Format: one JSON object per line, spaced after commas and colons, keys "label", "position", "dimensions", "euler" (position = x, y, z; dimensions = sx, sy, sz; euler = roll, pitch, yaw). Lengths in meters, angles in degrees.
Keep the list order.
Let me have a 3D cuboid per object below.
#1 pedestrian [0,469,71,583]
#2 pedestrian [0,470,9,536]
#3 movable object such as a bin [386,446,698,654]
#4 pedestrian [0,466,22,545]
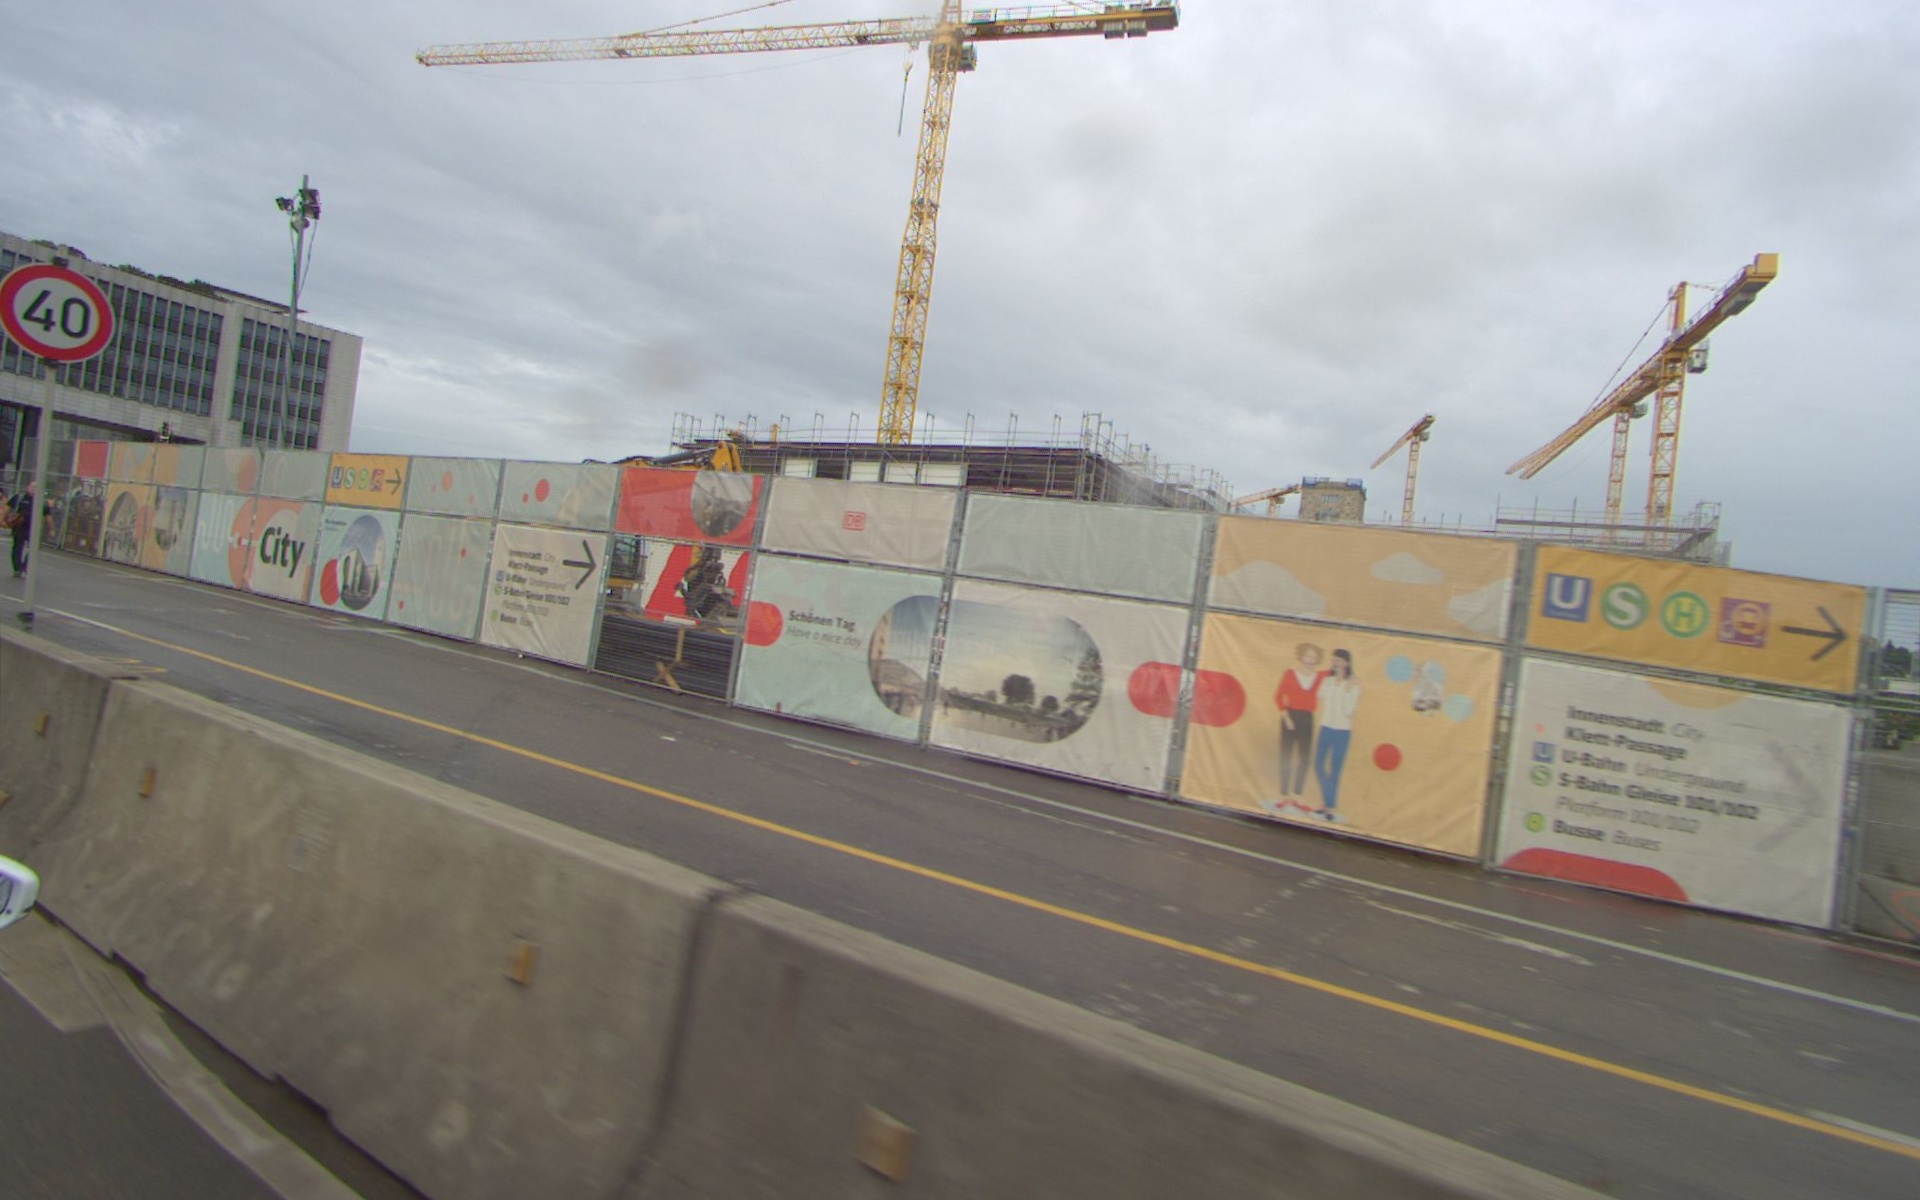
{"label": "pedestrian", "position": [-16.568, -1.313, 17.802], "dimensions": [0.675, 1.855, 0.926], "euler": [7, -1, 33]}
{"label": "pedestrian", "position": [-21.489, -1.950, 21.905], "dimensions": [0.807, 1.899, 0.797], "euler": [7, -1, 33]}
{"label": "movable object such as a bin", "position": [-8.669, -0.985, 21.065], "dimensions": [4.282, 3.534, 3.936], "euler": [7, 0, 31]}
{"label": "pedestrian", "position": [-25.527, -2.544, 26.627], "dimensions": [0.675, 2.037, 0.680], "euler": [9, 0, 33]}
